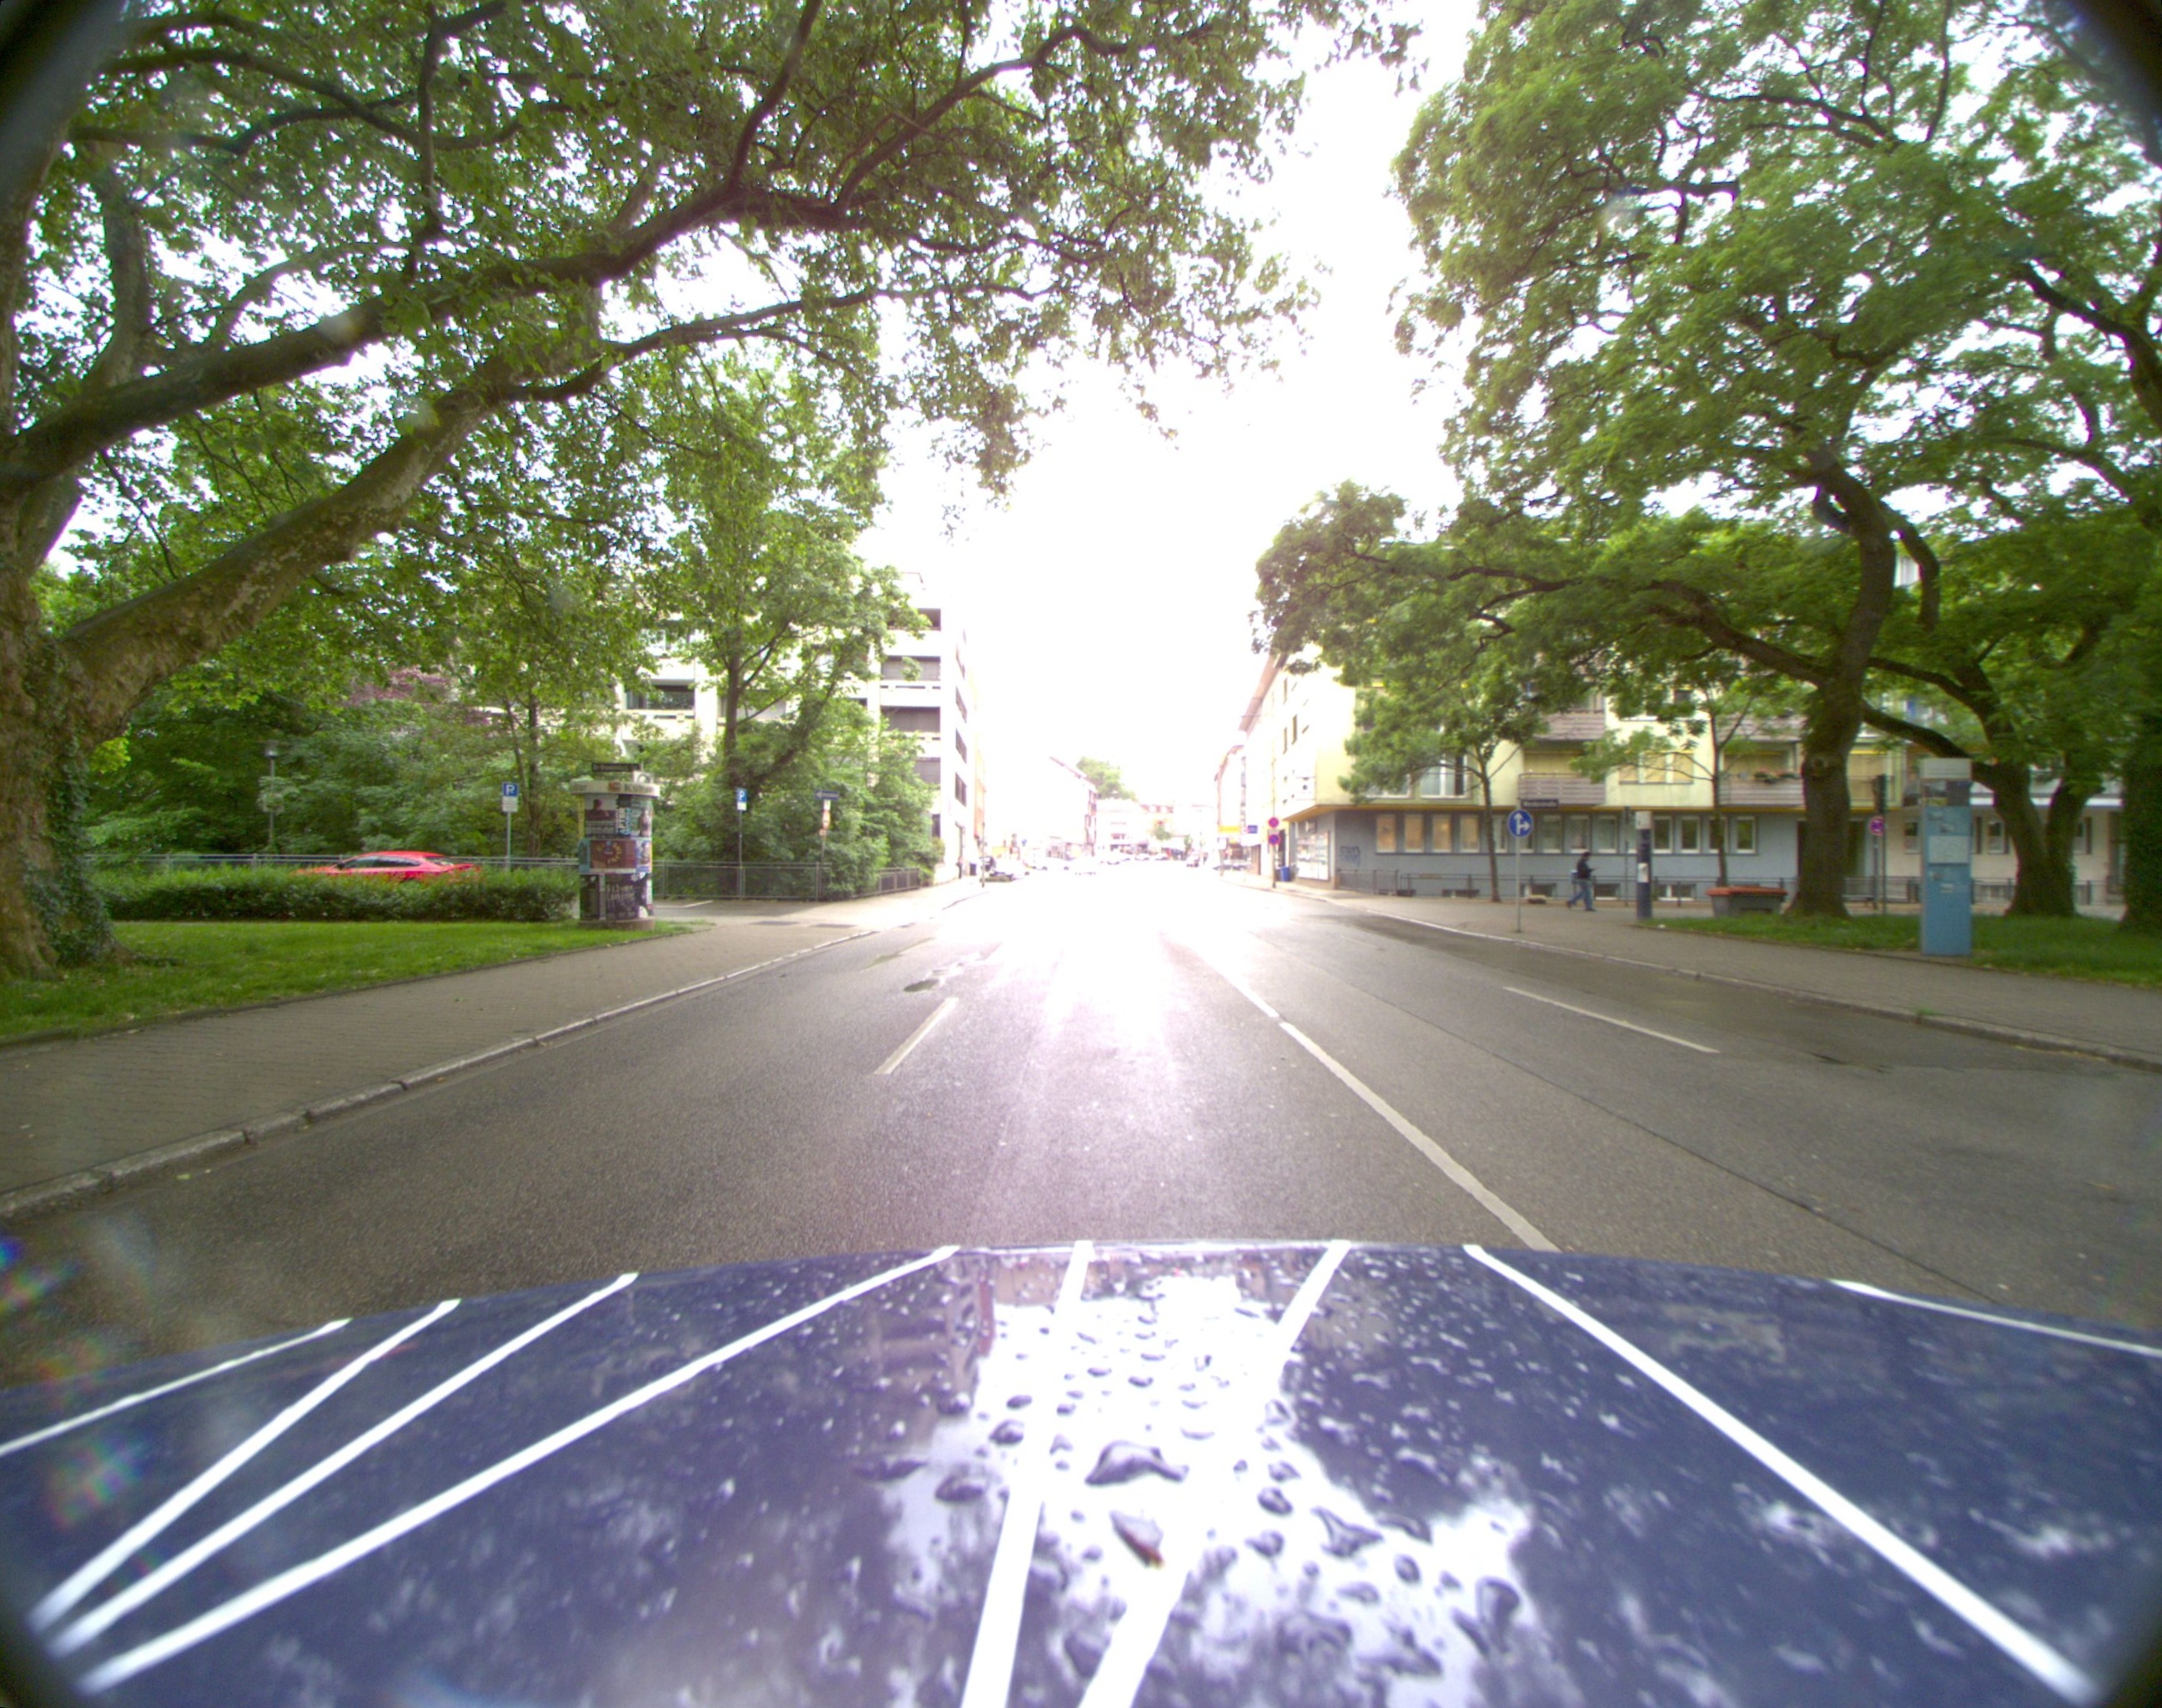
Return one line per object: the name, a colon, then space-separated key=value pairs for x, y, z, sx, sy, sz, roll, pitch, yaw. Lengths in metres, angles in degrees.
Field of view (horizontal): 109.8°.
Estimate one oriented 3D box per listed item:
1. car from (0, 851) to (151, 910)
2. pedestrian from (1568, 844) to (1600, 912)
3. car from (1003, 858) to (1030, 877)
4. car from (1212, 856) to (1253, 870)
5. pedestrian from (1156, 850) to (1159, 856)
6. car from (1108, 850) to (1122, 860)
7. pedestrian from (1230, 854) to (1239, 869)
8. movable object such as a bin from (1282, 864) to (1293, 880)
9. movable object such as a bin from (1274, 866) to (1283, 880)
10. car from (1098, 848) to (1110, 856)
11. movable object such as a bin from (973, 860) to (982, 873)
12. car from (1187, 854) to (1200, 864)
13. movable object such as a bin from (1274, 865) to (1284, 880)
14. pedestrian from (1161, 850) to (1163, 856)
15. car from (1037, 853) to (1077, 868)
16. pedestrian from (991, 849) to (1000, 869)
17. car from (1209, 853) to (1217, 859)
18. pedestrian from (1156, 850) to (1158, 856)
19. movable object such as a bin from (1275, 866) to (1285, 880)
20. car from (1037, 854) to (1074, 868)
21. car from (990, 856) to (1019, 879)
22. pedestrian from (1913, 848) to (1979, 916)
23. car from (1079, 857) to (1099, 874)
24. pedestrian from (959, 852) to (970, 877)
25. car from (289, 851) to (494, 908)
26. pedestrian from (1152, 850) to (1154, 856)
car: x=-29.255 y=0.719 z=21.329 sx=3.932 sy=1.561 sz=1.735 roll=1 pitch=0 yaw=-4
pedestrian: x=15.248 y=0.714 z=23.040 sx=0.780 sy=2.002 sz=0.754 roll=0 pitch=1 yaw=33
car: x=-5.131 y=1.013 z=60.598 sx=1.835 sy=1.412 sz=4.569 roll=1 pitch=0 yaw=-1
car: x=19.244 y=1.117 z=96.409 sx=4.964 sy=1.596 sz=1.563 roll=1 pitch=0 yaw=5
pedestrian: x=18.068 y=-0.277 z=179.206 sx=0.379 sy=1.283 sz=0.401 roll=0 pitch=1 yaw=40
car: x=6.037 y=0.161 z=133.998 sx=2.016 sy=1.754 sz=4.766 roll=1 pitch=0 yaw=8
pedestrian: x=16.698 y=0.794 z=82.418 sx=0.785 sy=1.578 sz=0.674 roll=-2 pitch=0 yaw=21
movable object such as a bin: x=13.089 y=1.149 z=48.113 sx=0.529 sy=0.955 sz=0.435 roll=-4 pitch=0 yaw=8
movable object such as a bin: x=12.954 y=1.234 z=49.802 sx=0.465 sy=0.922 sz=0.428 roll=-4 pitch=0 yaw=8
car: x=4.259 y=-0.352 z=143.034 sx=1.736 sy=1.389 sz=3.744 roll=0 pitch=0 yaw=10
movable object such as a bin: x=-8.561 y=1.043 z=62.822 sx=0.681 sy=1.097 sz=0.514 roll=0 pitch=0 yaw=-1
car: x=17.986 y=0.756 z=121.347 sx=1.834 sy=1.612 sz=4.003 roll=0 pitch=0 yaw=10
movable object such as a bin: x=12.811 y=1.216 z=49.232 sx=0.529 sy=0.922 sz=0.426 roll=-4 pitch=0 yaw=8
pedestrian: x=19.047 y=-0.264 z=179.108 sx=0.379 sy=1.283 sz=0.401 roll=0 pitch=1 yaw=39
car: x=-2.914 y=0.791 z=93.418 sx=4.687 sy=1.559 sz=1.758 roll=-2 pitch=0 yaw=2
pedestrian: x=-9.348 y=0.560 z=83.169 sx=0.806 sy=2.140 sz=0.737 roll=0 pitch=1 yaw=-23
car: x=33.581 y=0.473 z=193.210 sx=1.591 sy=1.518 sz=3.492 roll=0 pitch=0 yaw=14
pedestrian: x=18.401 y=-0.266 z=183.108 sx=0.379 sy=1.283 sz=0.401 roll=0 pitch=1 yaw=38
movable object such as a bin: x=12.721 y=1.220 z=48.663 sx=0.529 sy=0.890 sz=0.435 roll=-4 pitch=0 yaw=8
car: x=-3.206 y=0.917 z=96.675 sx=4.560 sy=1.559 sz=1.758 roll=-2 pitch=0 yaw=4
car: x=-5.329 y=0.928 z=53.583 sx=1.706 sy=1.549 sz=3.804 roll=1 pitch=0 yaw=-1
pedestrian: x=24.683 y=0.776 z=21.705 sx=0.918 sy=1.913 sz=0.820 roll=0 pitch=1 yaw=6
car: x=0.786 y=1.051 z=71.804 sx=1.756 sy=1.559 sz=4.000 roll=-2 pitch=0 yaw=1
pedestrian: x=-8.005 y=0.706 z=52.308 sx=0.599 sy=1.650 sz=0.691 roll=3 pitch=0 yaw=-7
car: x=-19.535 y=0.707 z=21.686 sx=3.999 sy=1.473 sz=1.875 roll=1 pitch=1 yaw=-5
pedestrian: x=17.451 y=-0.238 z=184.455 sx=0.379 sy=1.283 sz=0.401 roll=0 pitch=1 yaw=38
